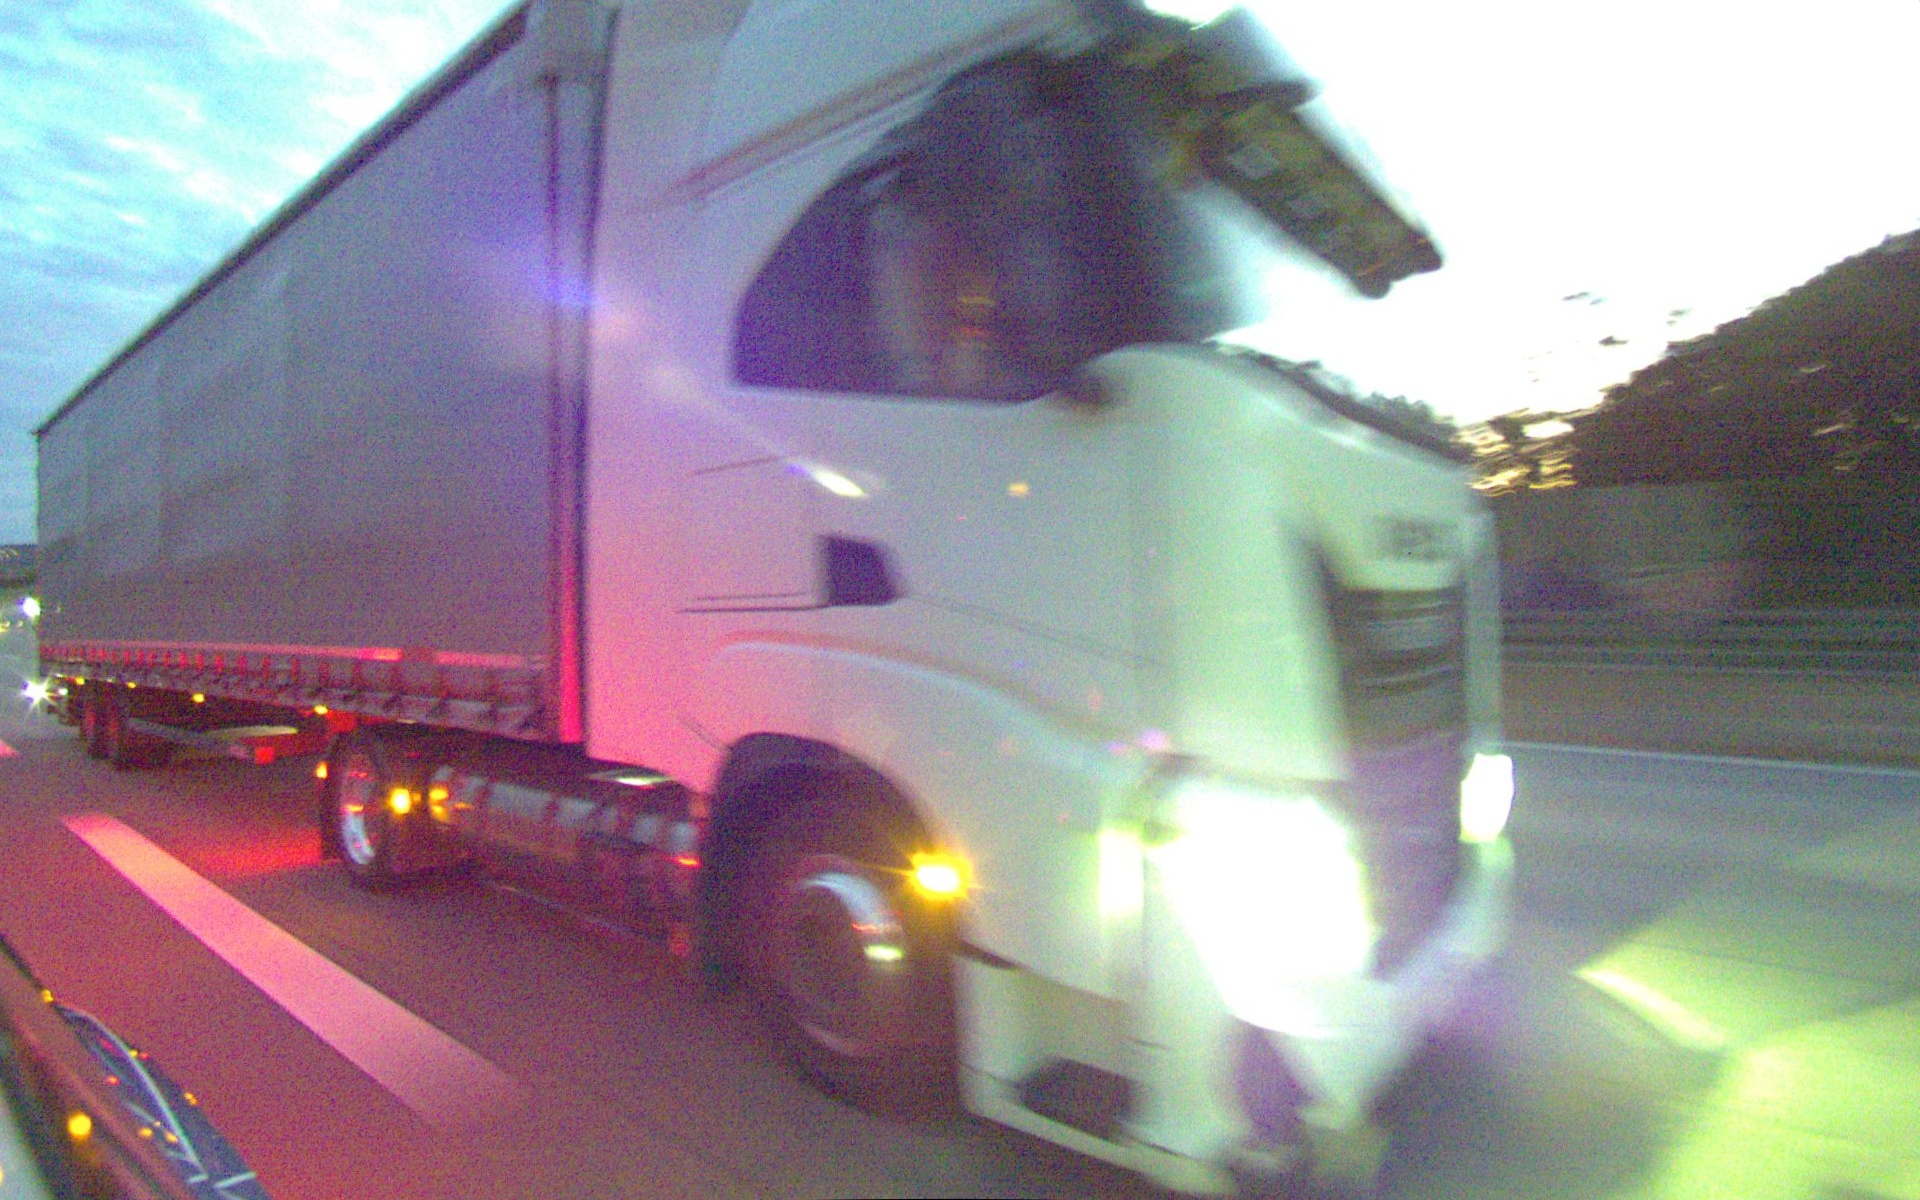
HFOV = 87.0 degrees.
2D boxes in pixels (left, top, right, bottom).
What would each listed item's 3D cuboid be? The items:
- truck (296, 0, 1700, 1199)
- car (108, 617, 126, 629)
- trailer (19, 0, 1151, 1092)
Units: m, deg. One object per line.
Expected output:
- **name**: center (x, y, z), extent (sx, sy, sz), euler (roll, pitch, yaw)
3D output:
- **truck**: center (-0.512, -0.442, 4.712), extent (6.151, 3.931, 2.750), euler (-1, -1, 41)
- **car**: center (-140.865, 3.892, 169.037), extent (1.971, 2.029, 4.002), euler (1, -2, -45)
- **trailer**: center (-5.506, -0.340, 9.042), extent (14.811, 3.945, 2.745), euler (-1, -1, 41)
